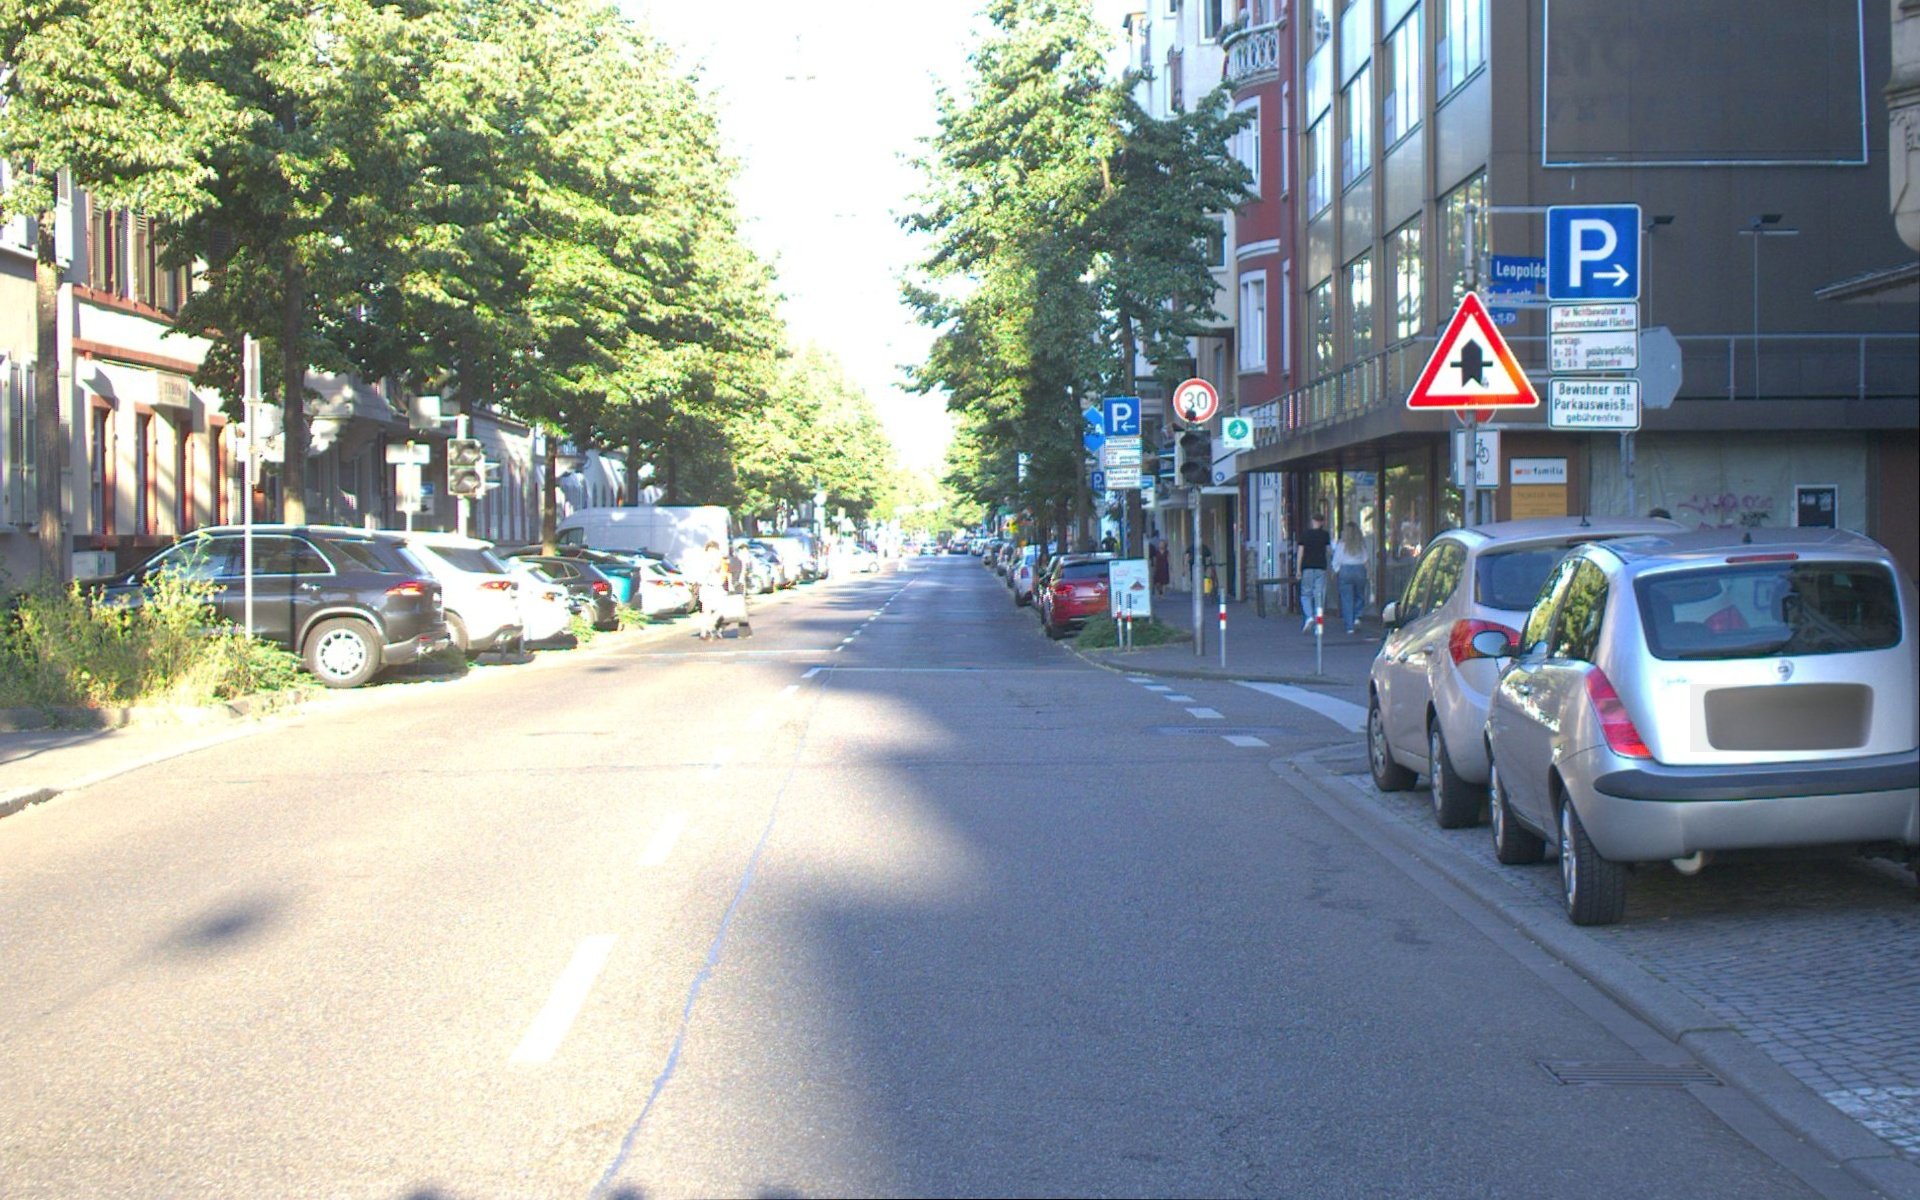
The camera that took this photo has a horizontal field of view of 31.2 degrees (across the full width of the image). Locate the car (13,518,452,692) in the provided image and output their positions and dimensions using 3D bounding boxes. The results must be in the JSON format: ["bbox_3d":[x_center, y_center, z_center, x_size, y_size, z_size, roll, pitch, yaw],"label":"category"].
[{"bbox_3d":[-8.054,0.041,38.359,4.449,1.829,2.034,1,1,0],"label":"car"}]

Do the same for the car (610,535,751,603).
[{"bbox_3d":[-7.725,-0.870,95.293,3.739,1.852,2.000,0,1,0],"label":"car"}]

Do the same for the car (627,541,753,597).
[{"bbox_3d":[-8.287,-0.953,105.850,3.739,1.702,2.000,0,1,0],"label":"car"}]

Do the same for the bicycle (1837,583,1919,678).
[{"bbox_3d":[10.764,0.345,39.199,0.414,1.034,1.776,-1,2,-26],"label":"bicycle"}]

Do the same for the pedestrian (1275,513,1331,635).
[{"bbox_3d":[5.318,-0.413,53.343,0.714,1.859,0.680,-2,1,-3],"label":"pedestrian"}]

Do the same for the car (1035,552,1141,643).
[{"bbox_3d":[2.268,-0.059,61.782,1.576,1.537,3.397,-2,0,-3],"label":"car"}]

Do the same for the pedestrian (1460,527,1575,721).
[{"bbox_3d":[4.832,0.195,29.855,0.755,1.635,1.259,1,1,-1],"label":"pedestrian"}]

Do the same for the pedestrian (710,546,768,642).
[{"bbox_3d":[-3.985,-0.111,61.943,0.721,1.677,0.757,-2,3,-40],"label":"pedestrian"}]

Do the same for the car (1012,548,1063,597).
[{"bbox_3d":[2.110,-0.749,93.873,1.206,1.296,2.661,1,0,-3],"label":"car"}]

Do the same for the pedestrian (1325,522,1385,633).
[{"bbox_3d":[6.126,-0.355,53.360,0.765,1.683,0.786,-2,1,-2],"label":"pedestrian"}]

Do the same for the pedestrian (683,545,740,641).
[{"bbox_3d":[-4.391,-0.124,60.720,0.714,1.667,0.710,0,2,-40],"label":"pedestrian"}]

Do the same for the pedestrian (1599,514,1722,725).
[{"bbox_3d":[5.974,0.149,29.374,0.755,1.761,1.222,1,1,-1],"label":"pedestrian"}]

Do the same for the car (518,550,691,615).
[{"bbox_3d":[-8.065,-0.409,78.262,3.739,1.445,2.000,0,1,0],"label":"car"}]

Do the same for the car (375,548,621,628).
[{"bbox_3d":[-8.785,-0.245,65.642,4.426,1.498,2.000,0,1,0],"label":"car"}]

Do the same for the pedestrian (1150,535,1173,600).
[{"bbox_3d":[5.043,-0.824,86.020,0.534,1.616,0.534,1,1,1],"label":"pedestrian"}]

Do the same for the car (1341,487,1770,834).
[{"bbox_3d":[3.271,0.259,19.594,1.696,1.763,4.000,0,1,-1],"label":"car"}]

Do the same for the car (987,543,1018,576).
[{"bbox_3d":[2.053,-1.941,165.624,1.308,1.594,2.661,1,0,-3],"label":"car"}]

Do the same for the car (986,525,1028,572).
[{"bbox_3d":[1.624,-1.791,119.998,1.308,1.594,2.661,1,0,-3],"label":"car"}]

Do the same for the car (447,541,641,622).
[{"bbox_3d":[-8.497,-0.387,70.465,3.739,1.636,2.000,0,1,0],"label":"car"}]

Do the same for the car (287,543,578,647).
[{"bbox_3d":[-8.101,-0.090,53.119,4.175,1.502,2.000,1,1,0],"label":"car"}]

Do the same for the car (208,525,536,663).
[{"bbox_3d":[-7.669,-0.097,45.109,3.989,1.702,1.833,1,1,0],"label":"car"}]

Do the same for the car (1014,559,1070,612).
[{"bbox_3d":[2.054,-0.357,86.413,1.206,1.296,2.661,1,0,-3],"label":"car"}]

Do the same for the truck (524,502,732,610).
[{"bbox_3d":[-8.149,-1.086,84.670,4.941,2.606,2.000,0,1,0],"label":"truck"}]

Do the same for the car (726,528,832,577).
[{"bbox_3d":[-6.555,-1.731,124.911,3.739,1.702,2.000,1,1,0],"label":"car"}]

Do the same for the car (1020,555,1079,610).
[{"bbox_3d":[2.158,-0.419,83.330,1.206,1.296,2.661,1,0,-3],"label":"car"}]

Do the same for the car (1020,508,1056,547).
[{"bbox_3d":[3.297,-3.087,146.022,1.308,1.594,2.661,1,0,-3],"label":"car"}]

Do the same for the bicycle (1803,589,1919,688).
[{"bbox_3d":[9.944,0.409,37.955,0.414,1.027,1.691,-1,2,-18],"label":"bicycle"}]

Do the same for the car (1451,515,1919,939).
[{"bbox_3d":[3.216,0.435,15.015,1.680,1.556,4.000,-2,1,2],"label":"car"}]

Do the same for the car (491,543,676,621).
[{"bbox_3d":[-7.998,-0.374,73.225,3.739,1.590,2.000,0,-1,0],"label":"car"}]

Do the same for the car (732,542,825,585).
[{"bbox_3d":[-7.525,-1.521,142.730,3.739,1.702,2.000,1,1,0],"label":"car"}]
